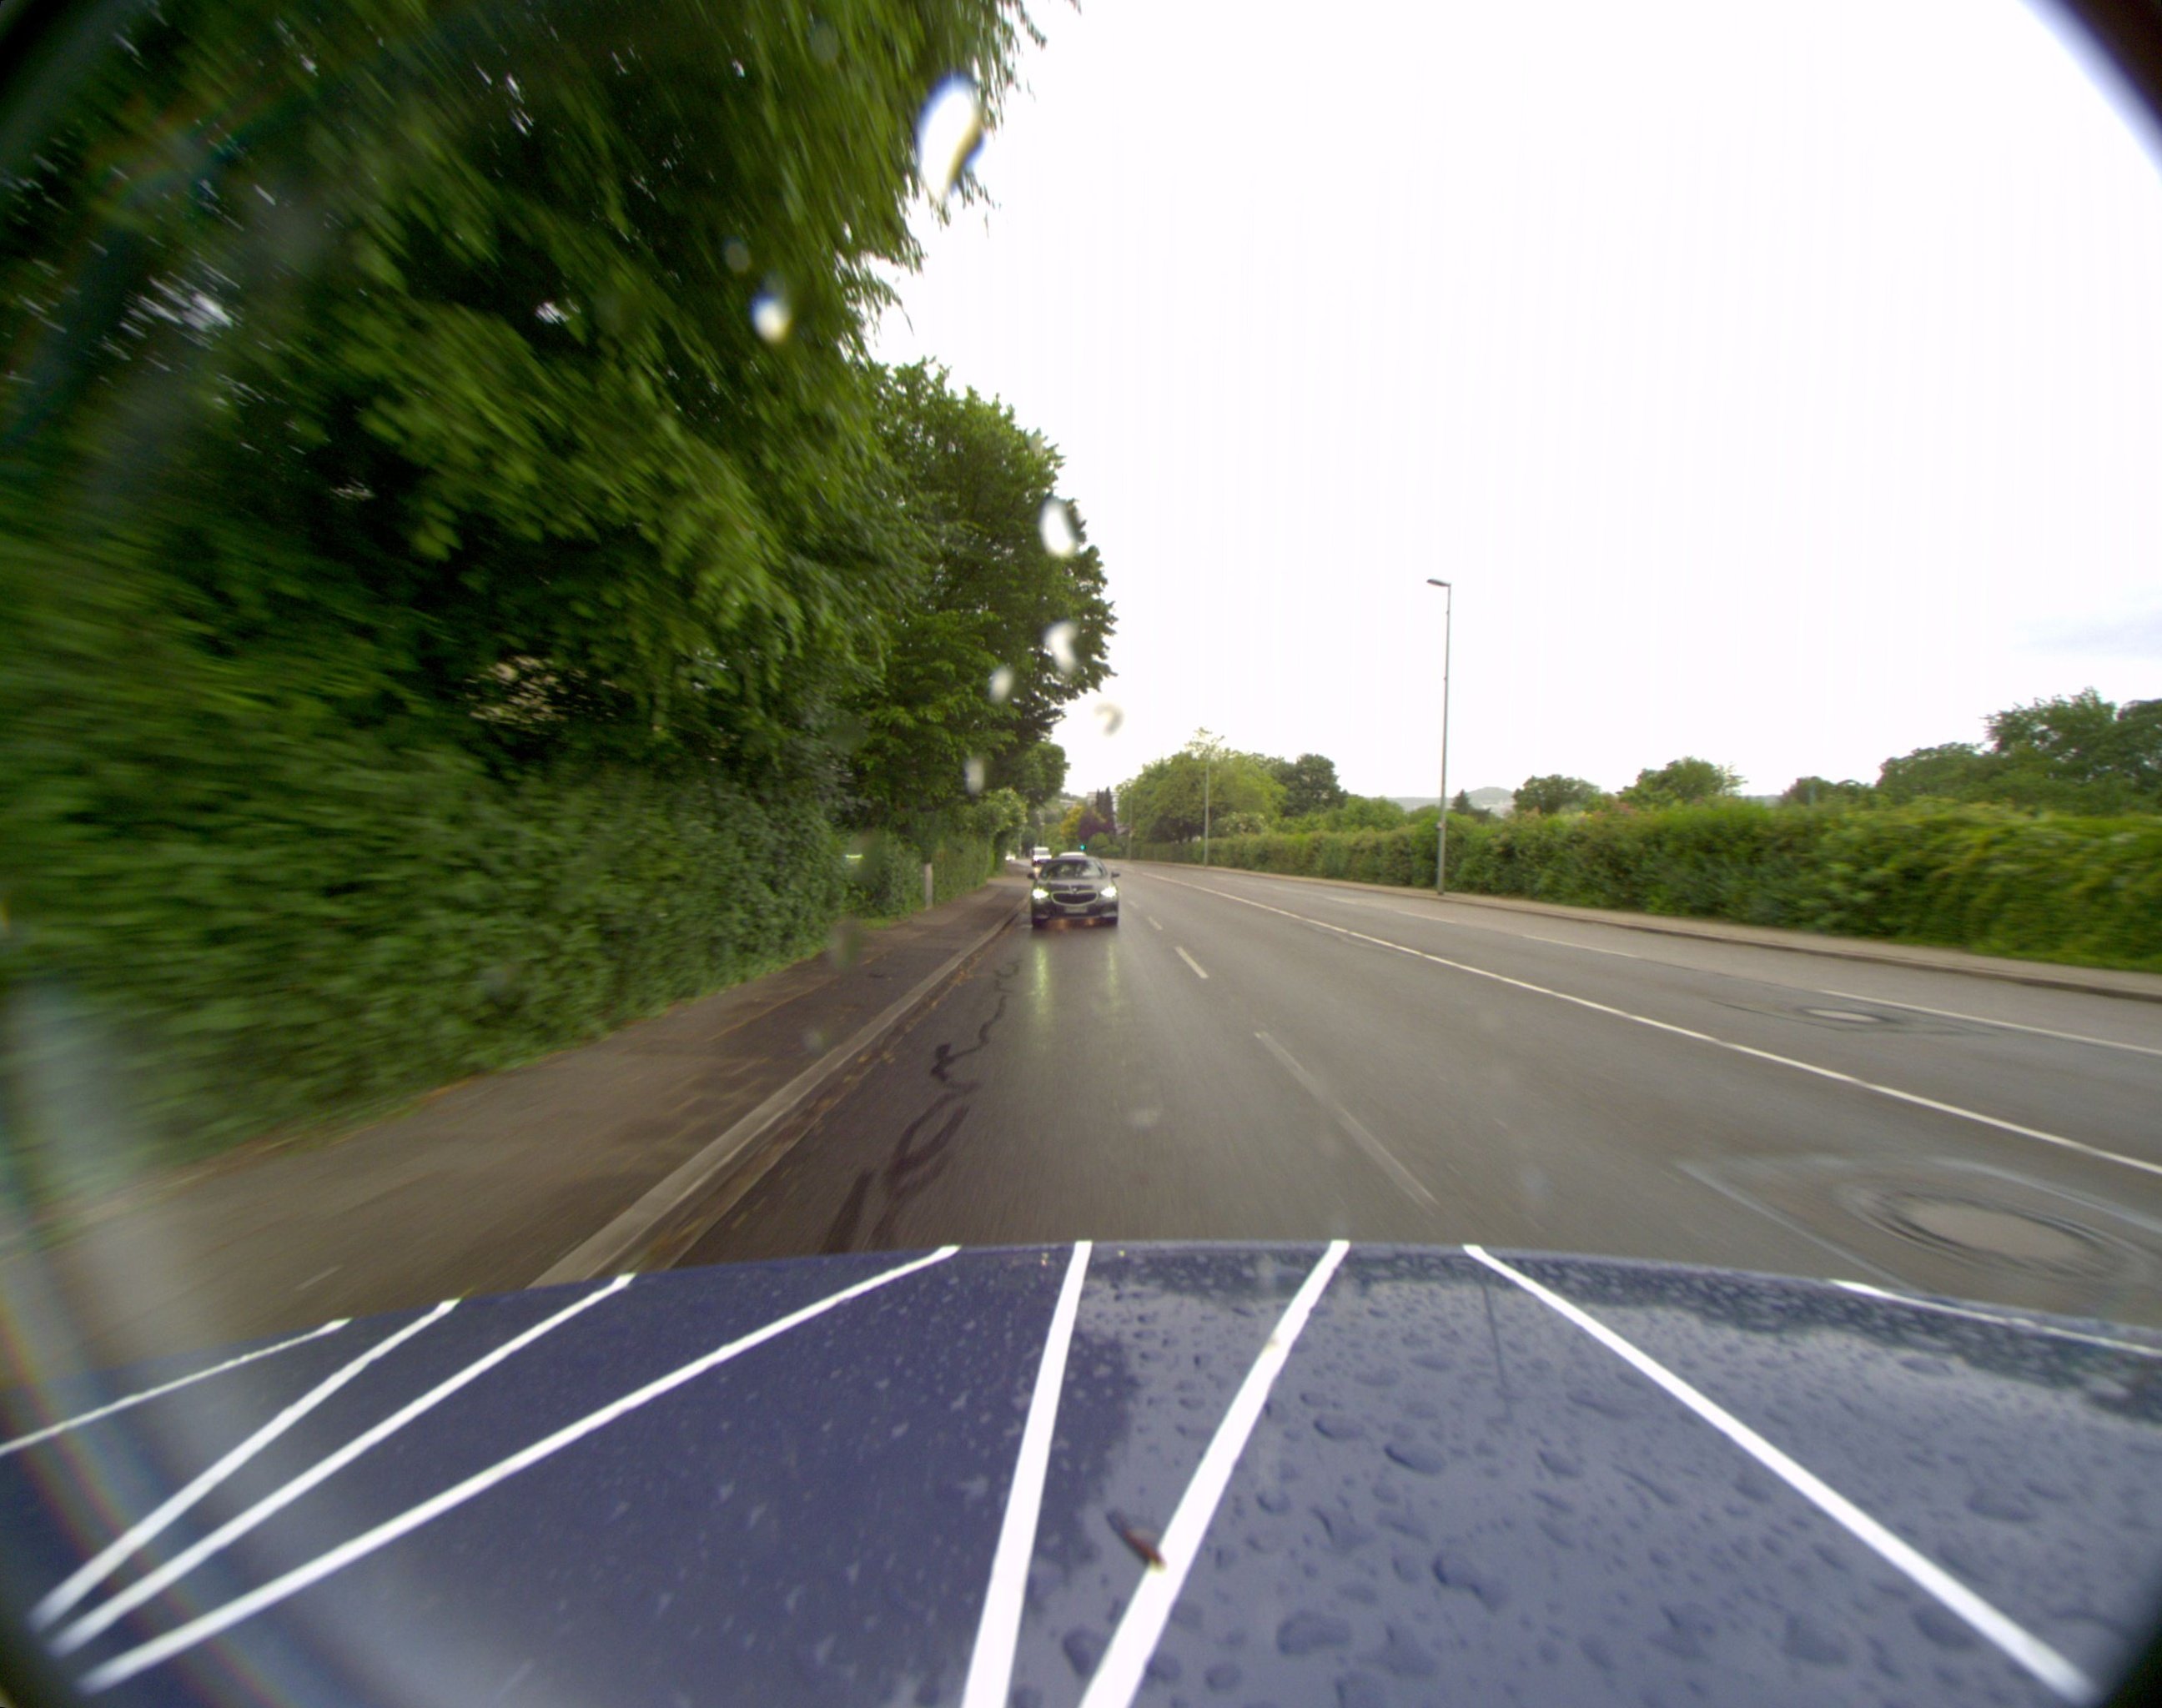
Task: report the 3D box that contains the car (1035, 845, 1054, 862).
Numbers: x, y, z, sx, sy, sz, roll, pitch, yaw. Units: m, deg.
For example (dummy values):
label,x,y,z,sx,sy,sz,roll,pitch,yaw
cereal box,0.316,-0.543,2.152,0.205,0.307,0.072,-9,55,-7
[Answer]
label,x,y,z,sx,sy,sz,roll,pitch,yaw
car,-3.639,-0.045,75.470,1.704,1.670,4.280,0,1,-6

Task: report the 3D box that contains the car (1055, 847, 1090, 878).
label,x,y,z,sx,sy,sz,roll,pitch,yaw
car,-0.511,0.398,39.549,1.551,1.505,4.281,0,1,-4

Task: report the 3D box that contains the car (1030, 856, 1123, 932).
label,x,y,z,sx,sy,sz,roll,pitch,yaw
car,-0.204,0.821,17.693,1.846,1.371,4.281,-3,1,-3
